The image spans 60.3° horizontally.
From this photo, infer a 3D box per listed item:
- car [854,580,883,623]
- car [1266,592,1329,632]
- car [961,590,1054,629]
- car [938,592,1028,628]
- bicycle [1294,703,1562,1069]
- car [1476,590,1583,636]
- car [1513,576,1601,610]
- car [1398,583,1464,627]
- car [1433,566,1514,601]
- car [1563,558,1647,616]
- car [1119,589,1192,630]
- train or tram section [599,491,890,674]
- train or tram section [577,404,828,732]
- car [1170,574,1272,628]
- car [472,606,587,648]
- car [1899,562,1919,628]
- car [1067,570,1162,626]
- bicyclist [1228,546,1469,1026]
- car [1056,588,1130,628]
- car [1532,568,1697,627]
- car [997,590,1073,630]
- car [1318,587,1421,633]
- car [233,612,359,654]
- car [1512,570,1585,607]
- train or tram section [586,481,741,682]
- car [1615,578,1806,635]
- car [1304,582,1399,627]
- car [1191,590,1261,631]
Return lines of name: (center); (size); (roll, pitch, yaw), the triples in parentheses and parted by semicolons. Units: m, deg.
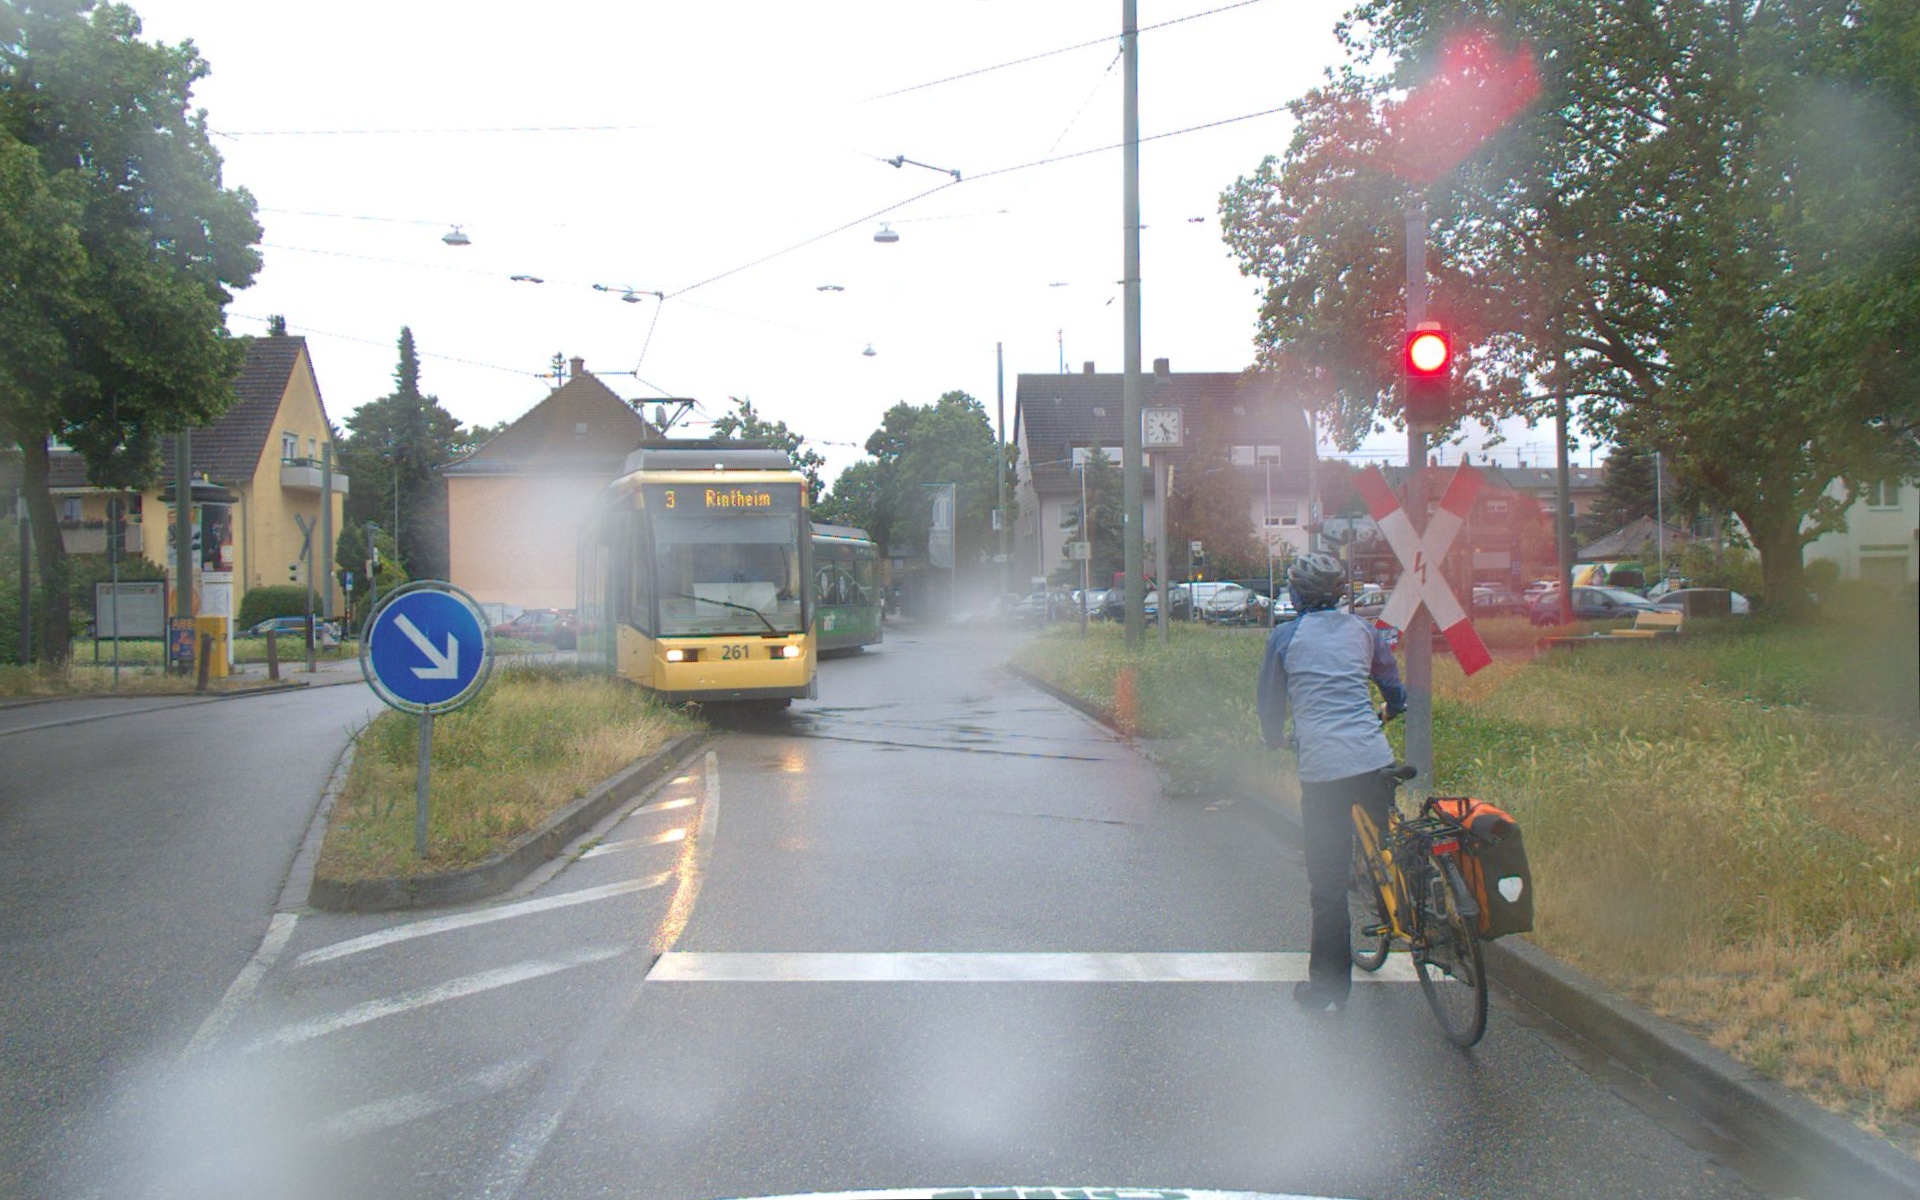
car: (-5.951, 0.103, 107.953); (1.768, 2.673, 3.998); (1, 0, -3)
car: (14.562, 0.517, 71.177); (1.804, 1.668, 3.997); (1, 0, 24)
car: (2.226, 0.441, 76.884); (3.956, 1.705, 1.974); (1, -1, -37)
car: (1.128, 0.473, 79.936); (3.956, 1.672, 1.974); (1, -1, -37)
bicycle: (1.650, 0.953, 6.076); (0.437, 1.022, 1.727); (-1, 1, -2)
car: (22.611, 0.510, 65.742); (3.609, 1.731, 1.890); (1, 0, 0)
car: (31.067, -0.356, 86.073); (3.905, 1.668, 1.846); (1, 0, -1)
car: (20.627, 0.227, 72.561); (1.952, 1.822, 4.001); (1, 0, 3)
car: (28.555, -0.904, 92.064); (3.904, 1.822, 2.000); (1, 0, 2)
car: (28.827, -0.564, 74.026); (1.953, 2.485, 4.352); (1, 0, -2)
car: (8.348, 0.405, 70.473); (1.954, 1.668, 3.997); (1, 0, 24)
train or tram section: (-4.631, -0.339, 39.631); (2.701, 3.615, 13.144); (-1, 0, 12)
train or tram section: (-4.116, -0.364, 24.450); (2.712, 3.615, 12.166); (-1, 0, -12)
car: (12.018, 0.065, 76.412); (4.307, 2.365, 1.999); (1, -1, -3)
car: (-16.184, 1.018, 62.329); (3.911, 1.482, 1.831); (1, 0, -7)
car: (28.140, -0.111, 45.528); (3.703, 1.829, 1.798); (1, -1, 43)
car: (7.480, -0.116, 79.911); (4.301, 2.610, 2.001); (1, -1, 14)
bicyclist: (1.418, 0.648, 6.160); (0.653, 1.654, 0.852); (1, -1, -2)
car: (5.803, 0.367, 71.603); (1.954, 1.668, 3.997); (1, 0, 24)
car: (17.937, -0.074, 45.408); (3.848, 1.522, 1.798); (1, -1, 43)
car: (3.338, 0.443, 72.810); (1.954, 1.668, 3.997); (1, 0, 24)
car: (16.154, 0.395, 65.342); (3.609, 1.731, 1.890); (1, 0, 0)
car: (-24.439, 1.201, 60.958); (3.911, 1.482, 1.831); (1, 0, -7)
car: (34.238, -0.638, 96.294); (1.963, 2.049, 3.978); (1, 0, -19)
train or tram section: (-5.798, -0.328, 32.616); (2.710, 3.615, 4.977); (-1, 0, -10)
car: (18.470, 0.152, 40.861); (3.902, 1.308, 1.847); (1, 0, 6)
car: (18.094, 0.229, 76.541); (3.907, 1.985, 1.999); (1, -1, -3)
car: (11.401, 0.459, 70.739); (1.954, 1.668, 3.997); (1, 0, 24)
